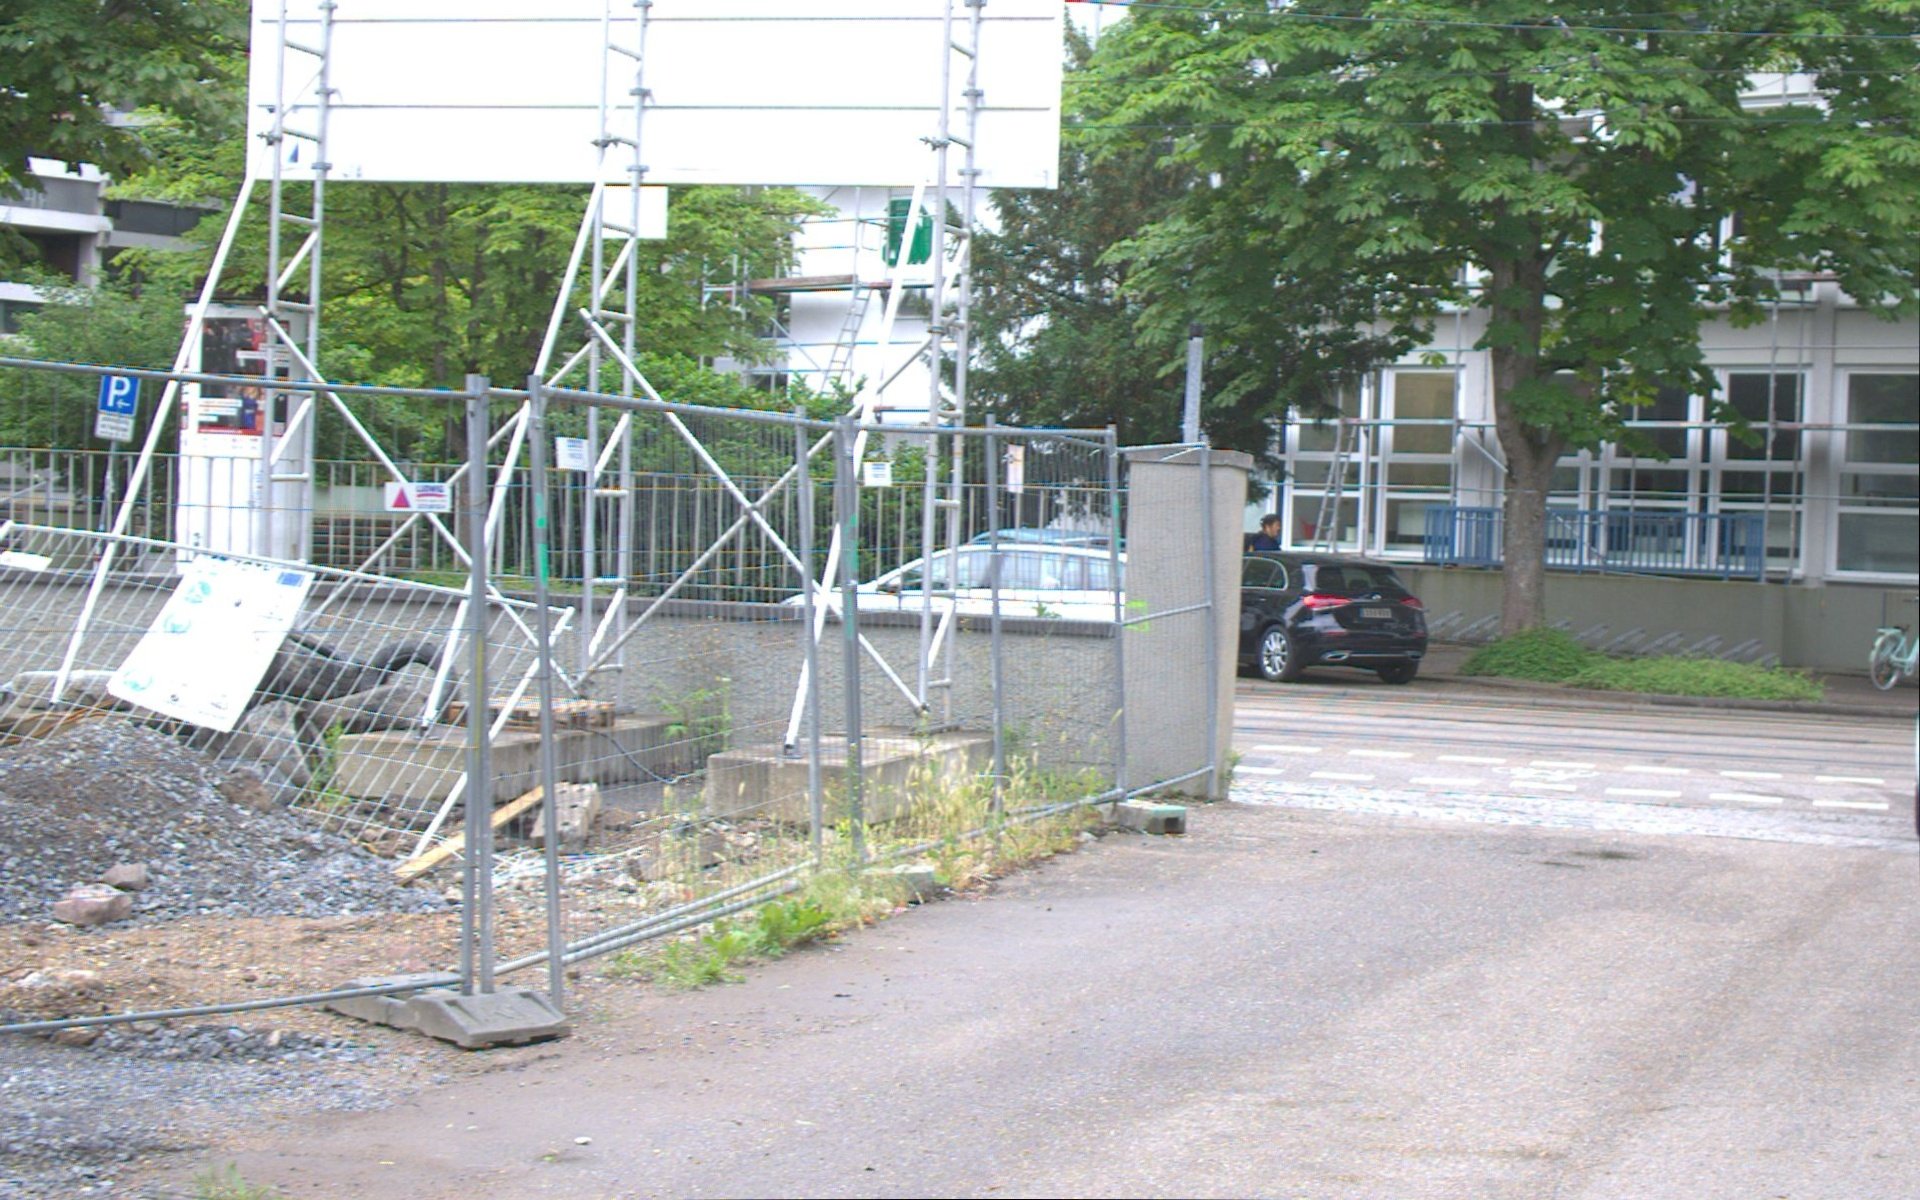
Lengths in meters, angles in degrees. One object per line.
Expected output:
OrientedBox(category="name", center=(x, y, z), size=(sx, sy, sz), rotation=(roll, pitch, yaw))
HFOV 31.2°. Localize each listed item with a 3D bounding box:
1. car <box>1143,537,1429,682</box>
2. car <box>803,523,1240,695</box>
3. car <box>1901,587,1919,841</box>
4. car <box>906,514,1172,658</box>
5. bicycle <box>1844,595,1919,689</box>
OrientedBox(category="car", center=(3.640, 0.085, 38.855), size=(1.613, 1.506, 3.338), rotation=(2, 1, -28))
OrientedBox(category="car", center=(0.629, 0.065, 34.373), size=(3.990, 1.514, 1.729), rotation=(2, 1, 17))
OrientedBox(category="car", center=(6.886, 0.741, 20.874), size=(1.777, 1.428, 3.974), rotation=(2, -1, 22))
OrientedBox(category="car", center=(0.872, -0.187, 39.752), size=(1.613, 1.532, 3.338), rotation=(2, 1, -28))
OrientedBox(category="bicycle", center=(11.928, 0.514, 43.194), size=(0.646, 1.071, 2.307), rotation=(3, 4, 39))
